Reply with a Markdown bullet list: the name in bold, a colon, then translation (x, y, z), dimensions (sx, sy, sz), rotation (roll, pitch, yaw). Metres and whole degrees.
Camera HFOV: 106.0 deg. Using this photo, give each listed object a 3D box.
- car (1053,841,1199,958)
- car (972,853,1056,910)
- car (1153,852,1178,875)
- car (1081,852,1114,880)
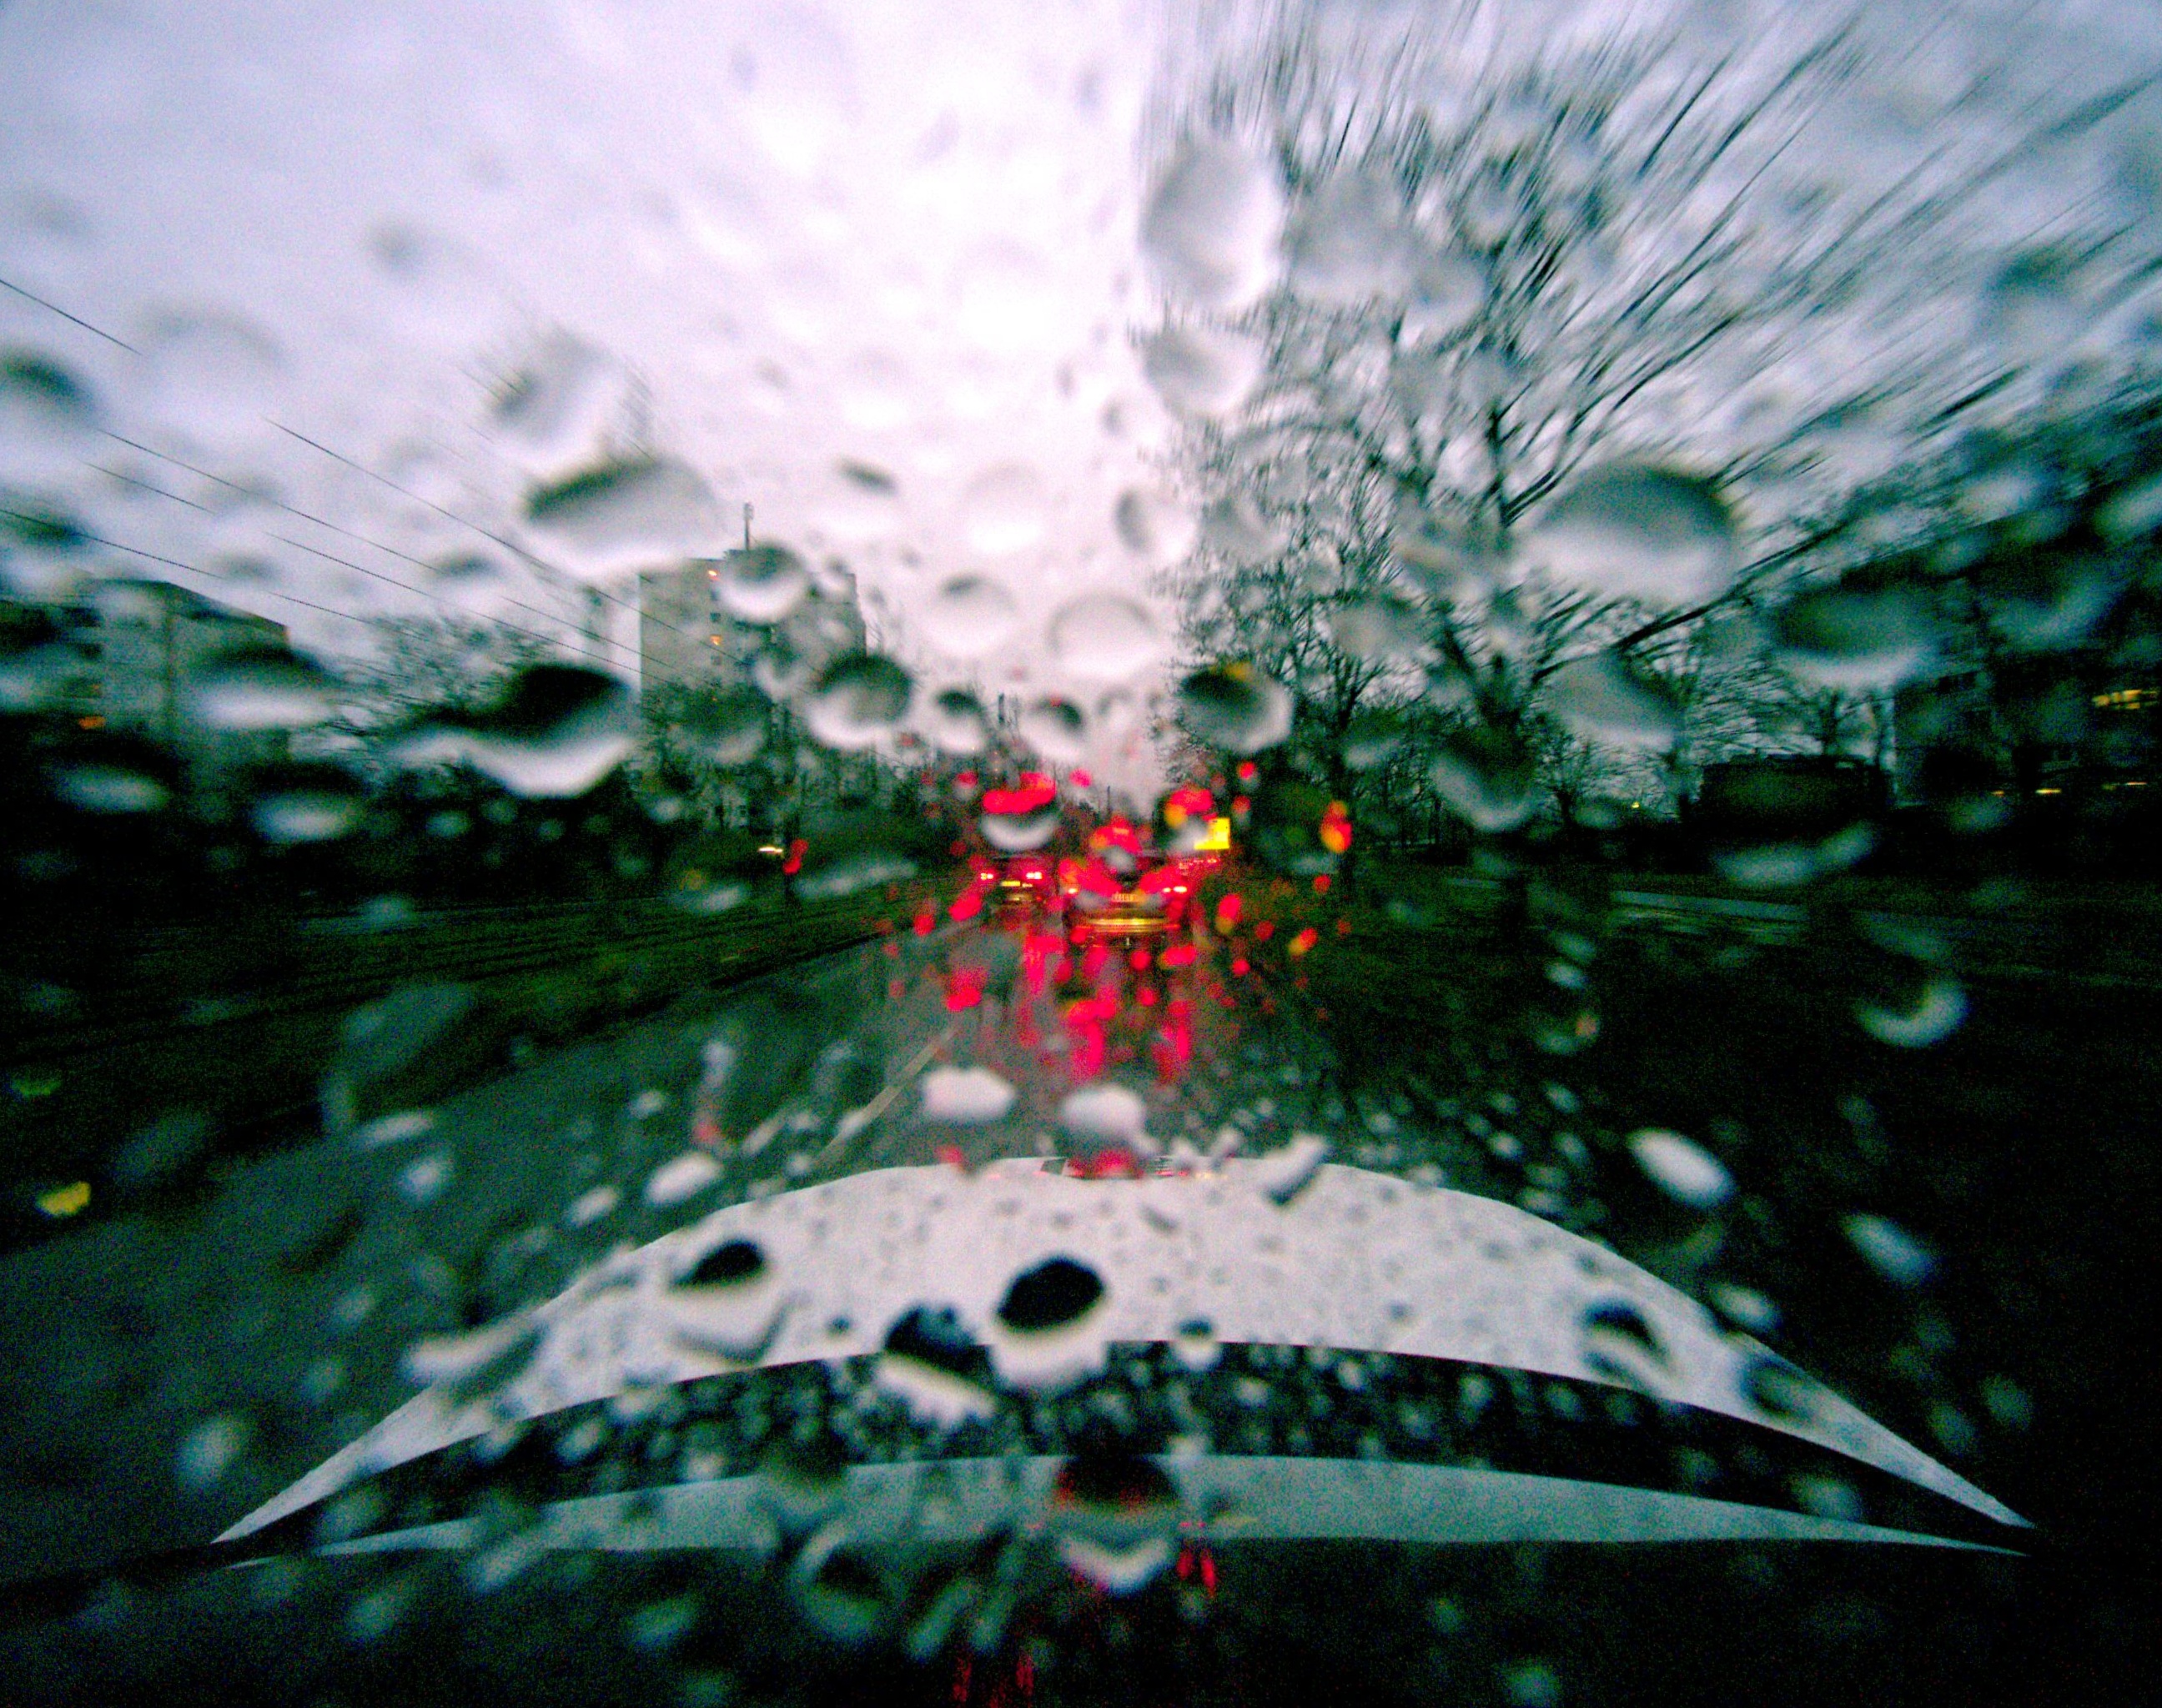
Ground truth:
- **car**: translation (0.667, 0.635, 13.249), dimensions (1.991, 1.584, 4.001), rotation (-1, 0, 1)
- **car**: translation (-1.818, 0.724, 23.477), dimensions (1.872, 1.459, 4.003), rotation (-2, 0, 3)
- **car**: translation (5.983, 0.683, 58.132), dimensions (1.700, 1.558, 4.001), rotation (-1, -1, 5)
- **car**: translation (1.015, 0.683, 49.163), dimensions (1.873, 1.594, 4.001), rotation (-2, 0, 1)
